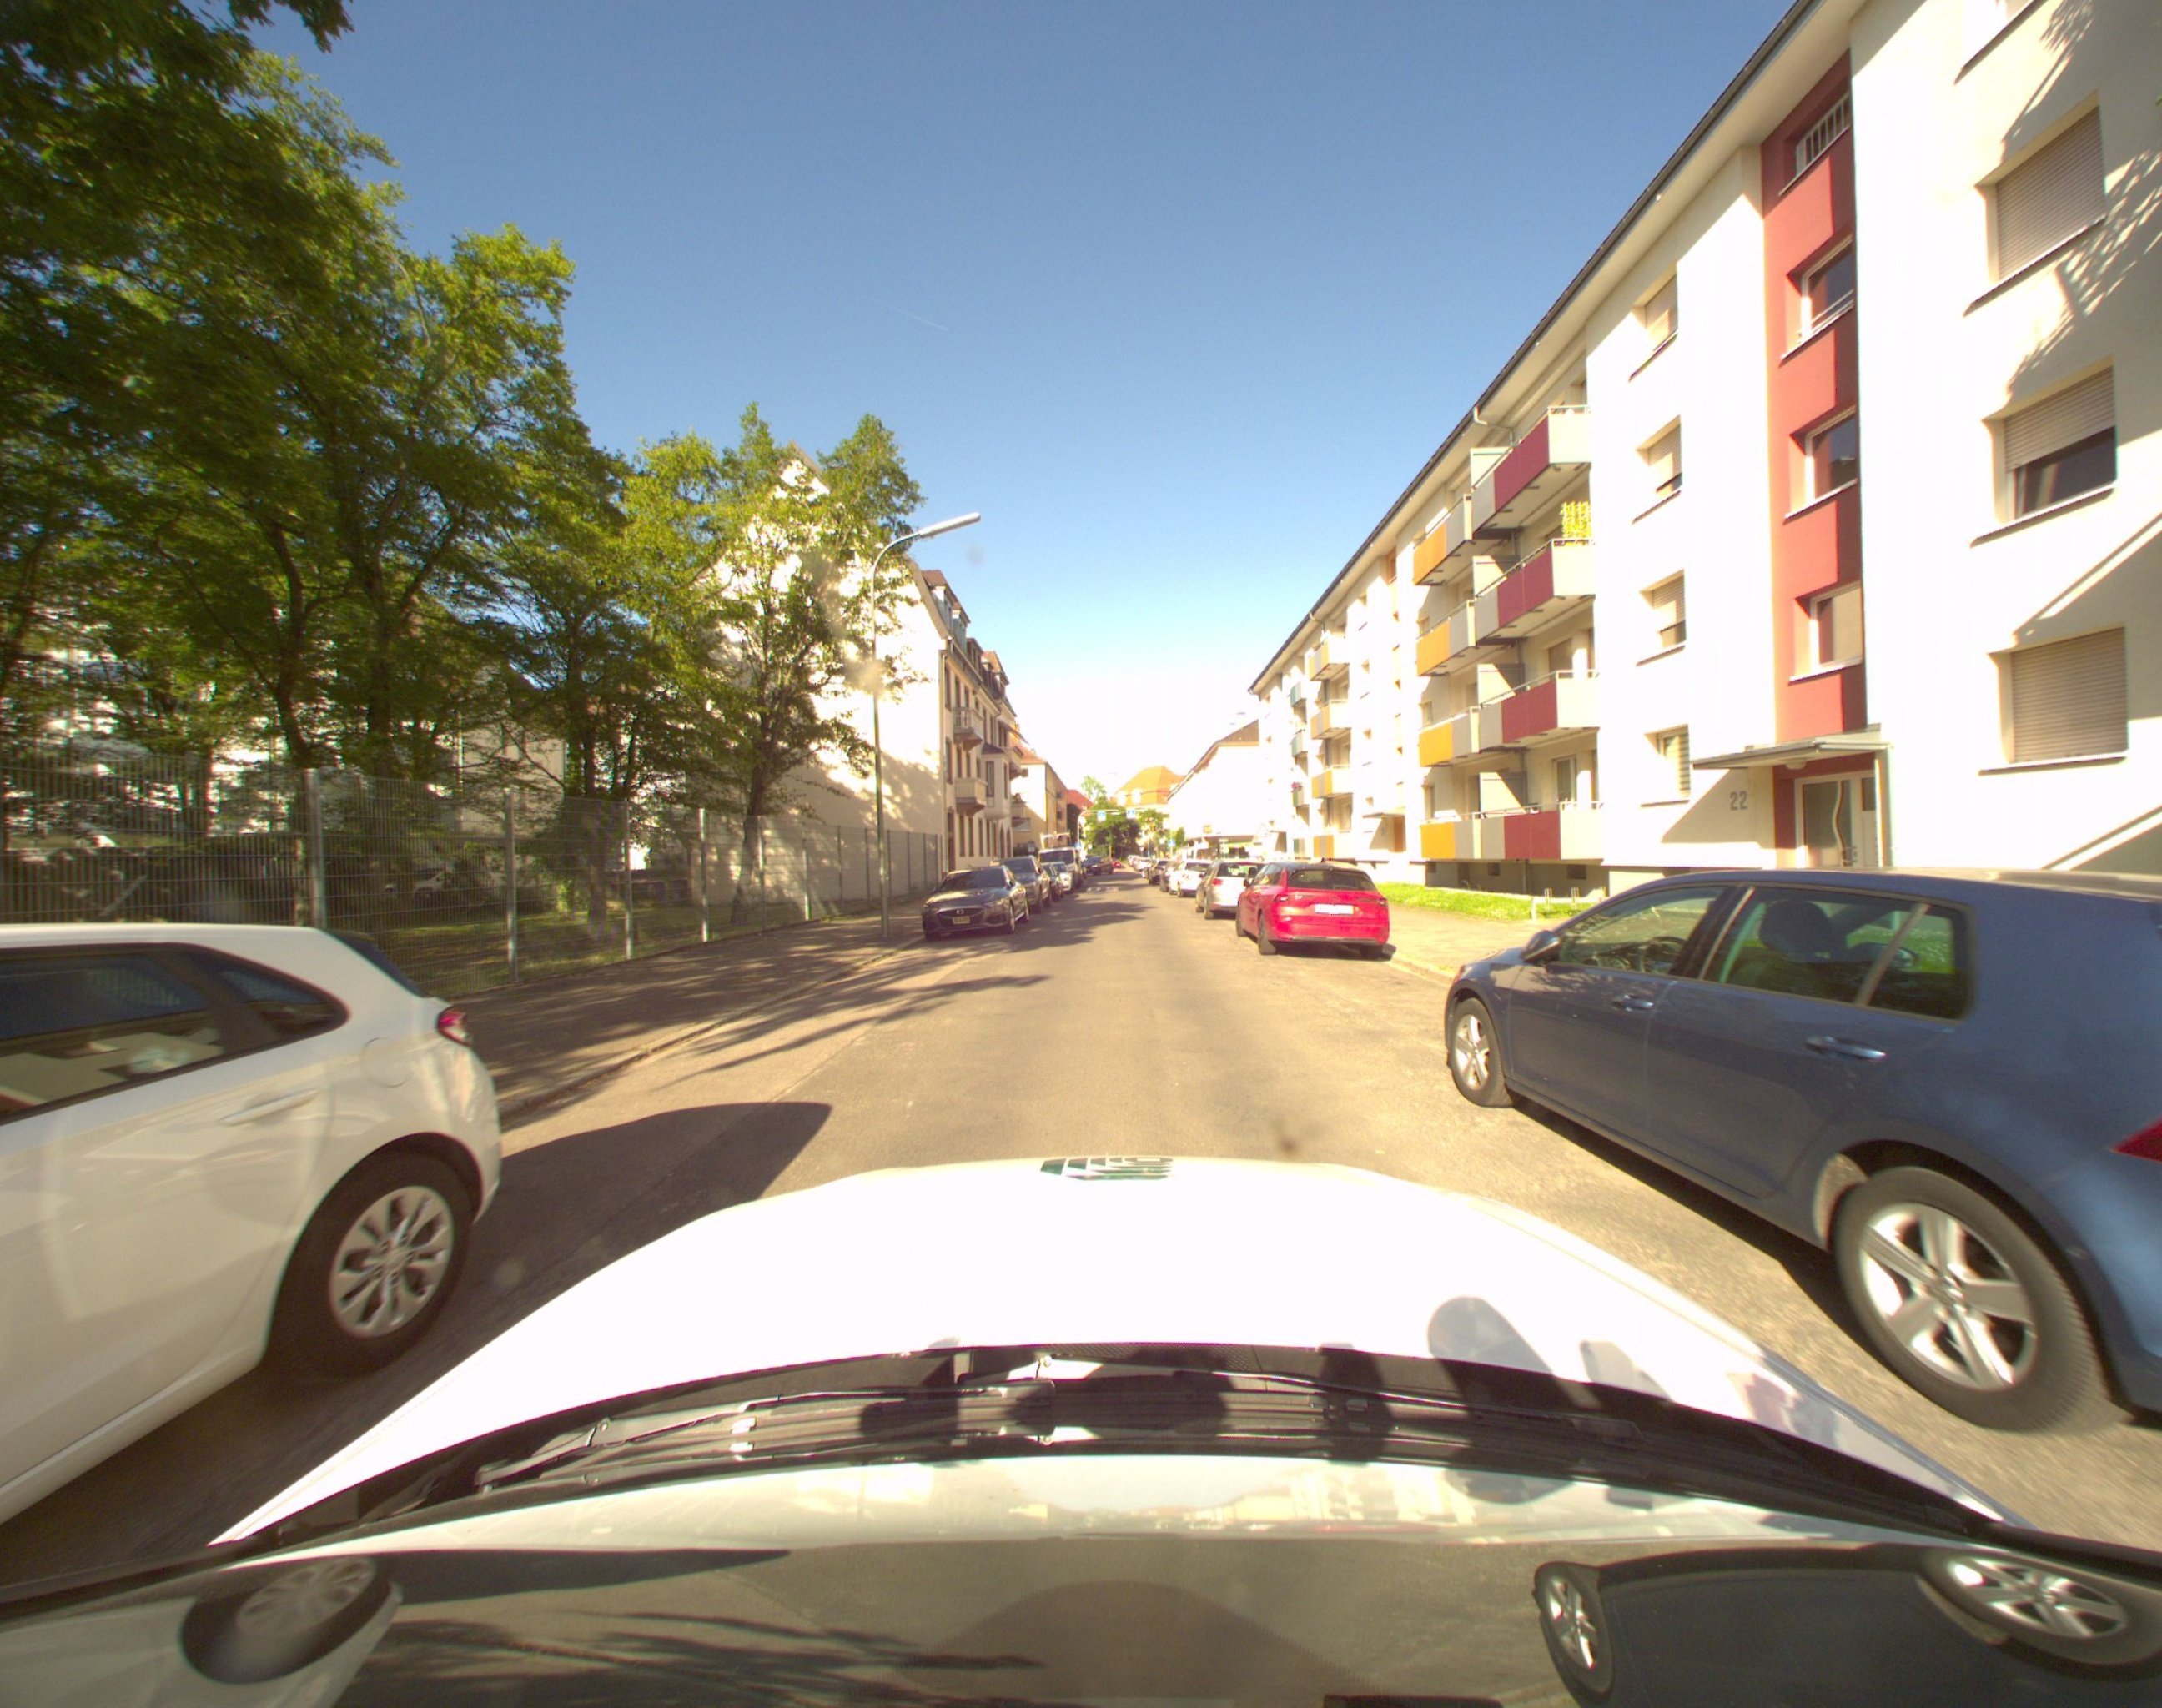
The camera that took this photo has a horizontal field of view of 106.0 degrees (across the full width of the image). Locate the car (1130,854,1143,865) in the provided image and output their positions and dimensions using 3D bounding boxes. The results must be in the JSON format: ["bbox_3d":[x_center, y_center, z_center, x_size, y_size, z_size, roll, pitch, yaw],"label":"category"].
[{"bbox_3d":[7.939,0.806,116.316,1.631,1.440,3.420,-2,0,2],"label":"car"}]

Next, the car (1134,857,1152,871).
[{"bbox_3d":[6.464,1.016,84.721,1.837,1.440,3.423,-2,0,4],"label":"car"}]

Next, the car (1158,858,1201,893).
[{"bbox_3d":[4.376,0.927,36.710,1.681,1.467,3.586,1,0,3],"label":"car"}]

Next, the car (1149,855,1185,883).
[{"bbox_3d":[4.816,0.846,46.178,1.784,1.471,4.342,-1,0,3],"label":"car"}]

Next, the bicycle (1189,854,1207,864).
[{"bbox_3d":[12.724,0.562,88.317,1.805,0.967,0.672,-2,0,-8],"label":"bicycle"}]

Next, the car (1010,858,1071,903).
[{"bbox_3d":[-1.433,0.938,30.509,1.784,1.563,4.463,-1,-1,3],"label":"car"}]

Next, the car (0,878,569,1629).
[{"bbox_3d":[-3.092,0.872,1.271,1.787,1.445,4.121,-4,0,2],"label":"car"}]

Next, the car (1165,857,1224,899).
[{"bbox_3d":[4.388,0.889,31.939,1.680,1.463,3.818,4,0,-1],"label":"car"}]

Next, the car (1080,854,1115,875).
[{"bbox_3d":[1.434,0.855,67.791,1.807,1.633,4.275,-2,0,16],"label":"car"}]

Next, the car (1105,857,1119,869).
[{"bbox_3d":[3.972,1.120,103.678,1.690,1.440,3.421,-2,0,3],"label":"car"}]

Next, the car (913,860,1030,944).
[{"bbox_3d":[-2.237,0.940,17.858,1.788,1.471,4.503,-4,0,1],"label":"car"}]

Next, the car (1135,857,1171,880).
[{"bbox_3d":[5.065,1.020,57.651,1.849,1.523,4.771,-1,-1,-3],"label":"car"}]

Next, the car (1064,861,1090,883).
[{"bbox_3d":[-0.302,1.293,59.906,1.698,1.416,4.373,-6,-1,0],"label":"car"}]

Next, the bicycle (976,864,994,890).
[{"bbox_3d":[-5.133,1.205,43.827,0.567,1.279,2.342,-2,1,2],"label":"bicycle"}]

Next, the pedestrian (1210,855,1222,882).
[{"bbox_3d":[7.479,0.814,45.188,0.572,1.433,0.472,-3,0,4],"label":"pedestrian"}]

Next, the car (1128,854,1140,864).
[{"bbox_3d":[8.000,0.691,122.357,1.631,1.440,3.420,-2,0,2],"label":"car"}]

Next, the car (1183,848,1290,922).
[{"bbox_3d":[3.775,0.704,20.578,1.892,1.622,4.603,1,0,1],"label":"car"}]

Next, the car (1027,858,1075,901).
[{"bbox_3d":[-1.293,1.079,36.812,1.786,1.540,4.641,-7,0,0],"label":"car"}]

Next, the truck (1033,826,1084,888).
[{"bbox_3d":[-1.115,0.187,43.935,2.250,2.986,7.278,-2,-1,2],"label":"truck"}]

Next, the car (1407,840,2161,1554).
[{"bbox_3d":[3.107,0.707,3.523,1.747,1.481,4.079,-1,0,0],"label":"car"}]

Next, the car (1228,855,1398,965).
[{"bbox_3d":[3.547,0.763,13.296,1.744,1.444,4.528,-2,0,4],"label":"car"}]

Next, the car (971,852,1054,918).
[{"bbox_3d":[-1.928,0.838,24.458,1.872,1.664,4.933,-4,0,1],"label":"car"}]

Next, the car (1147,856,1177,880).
[{"bbox_3d":[5.165,0.919,52.402,1.639,1.460,3.941,-1,-1,2],"label":"car"}]
